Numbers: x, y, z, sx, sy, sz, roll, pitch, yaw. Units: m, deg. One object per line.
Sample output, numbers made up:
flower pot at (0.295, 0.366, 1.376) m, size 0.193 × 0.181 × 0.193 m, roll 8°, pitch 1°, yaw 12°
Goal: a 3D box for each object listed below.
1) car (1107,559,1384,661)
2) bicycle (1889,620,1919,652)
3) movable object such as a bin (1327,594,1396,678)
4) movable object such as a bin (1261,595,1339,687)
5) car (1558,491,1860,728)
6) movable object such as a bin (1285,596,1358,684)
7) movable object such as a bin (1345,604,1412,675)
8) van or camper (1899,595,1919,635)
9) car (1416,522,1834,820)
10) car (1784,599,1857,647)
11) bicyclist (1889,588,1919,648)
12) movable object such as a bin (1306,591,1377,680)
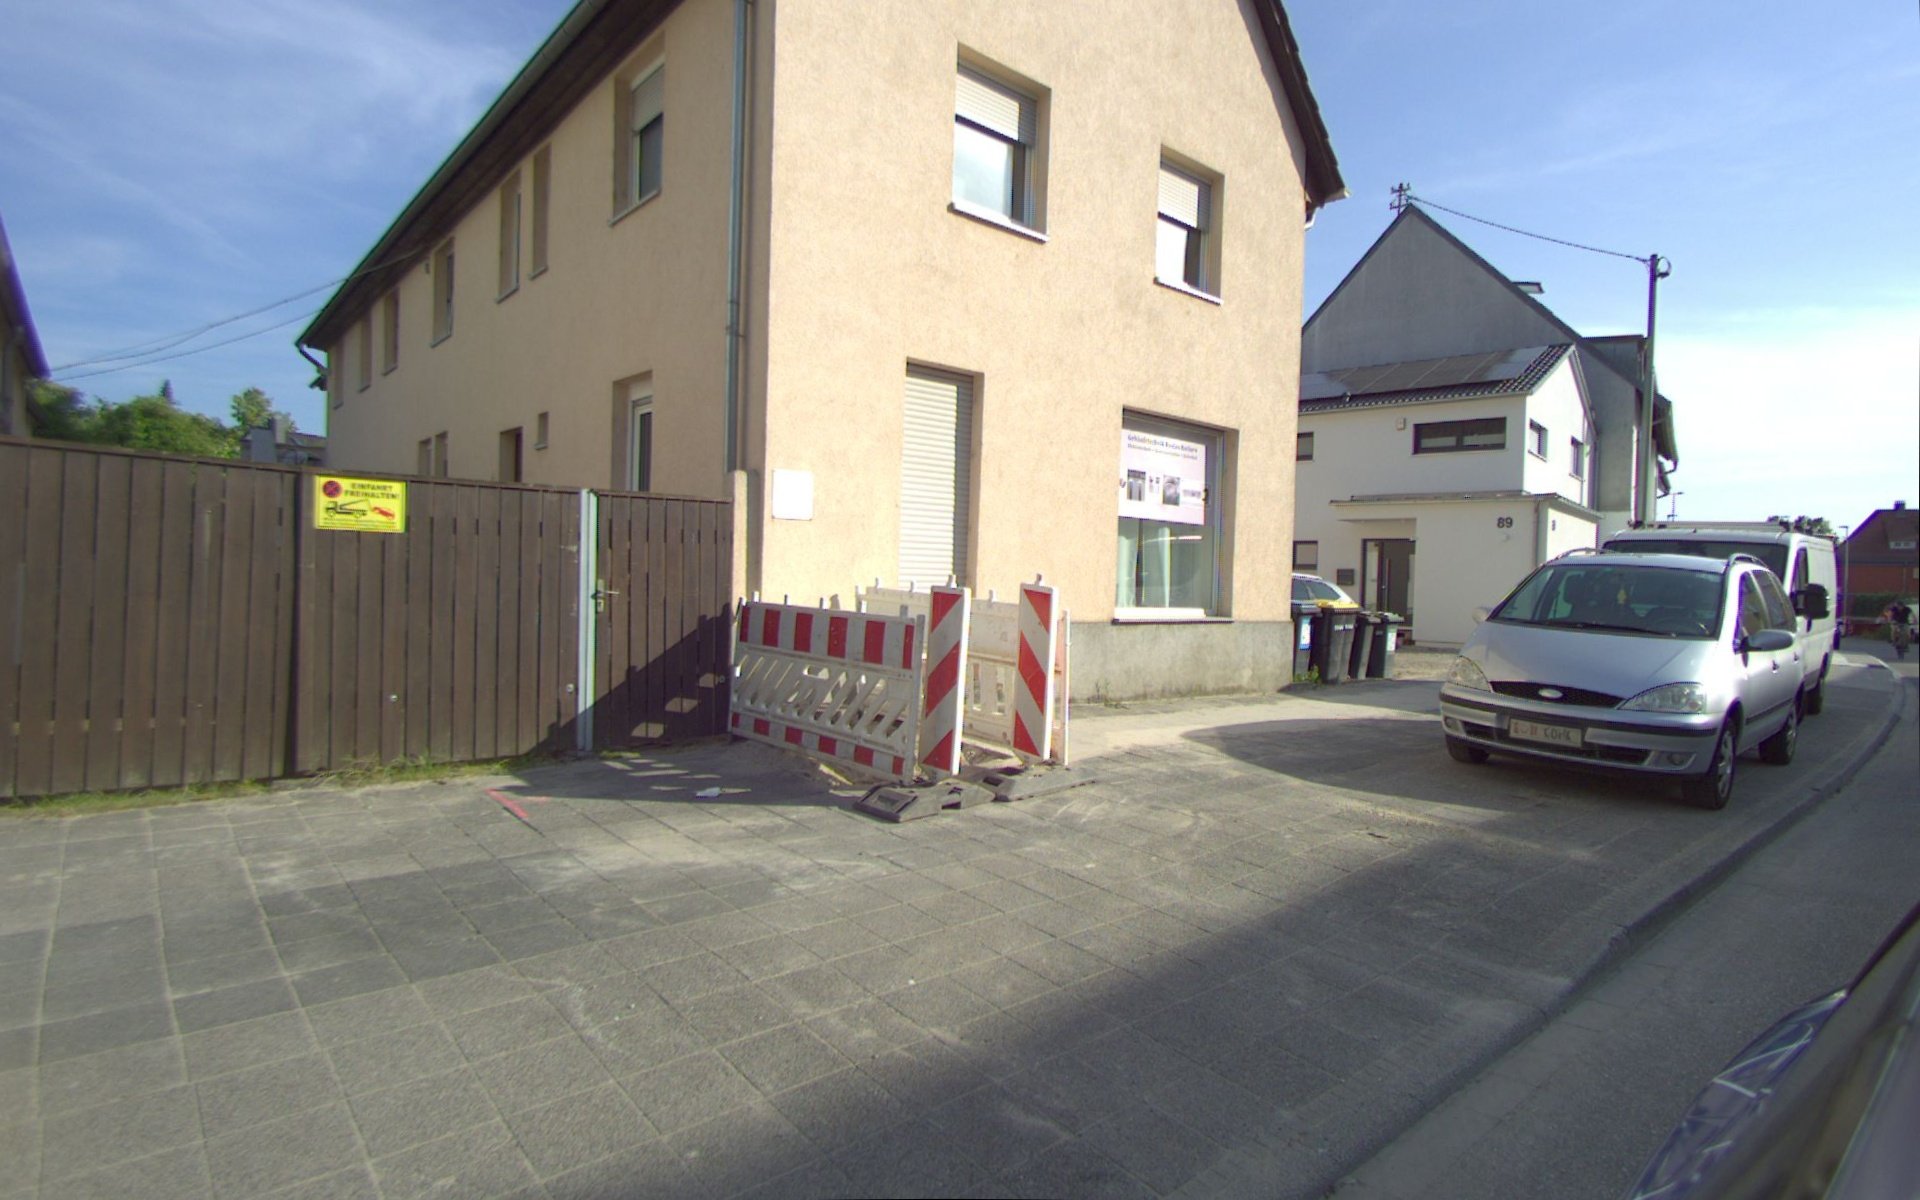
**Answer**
car at (4.491, 0.148, 16.004) m, size 3.895 × 1.424 × 1.666 m, roll 2°, pitch 2°, yaw -19°
bicycle at (27.492, 1.031, 29.305) m, size 0.677 × 0.865 × 1.999 m, roll 1°, pitch 1°, yaw 38°
movable object such as a bin at (5.598, 0.486, 14.117) m, size 0.544 × 1.107 × 0.728 m, roll 0°, pitch 1°, yaw -43°
movable object such as a bin at (4.298, 0.503, 12.801) m, size 0.615 × 1.107 × 0.728 m, roll 0°, pitch 1°, yaw -43°
car at (9.430, 0.061, 12.557) m, size 4.915 × 2.356 × 2.177 m, roll 1°, pitch 2°, yaw -44°
movable object such as a bin at (4.724, 0.503, 13.227) m, size 0.544 × 1.107 × 0.728 m, roll 0°, pitch 1°, yaw -43°
movable object such as a bin at (5.997, 0.553, 14.517) m, size 0.544 × 0.971 × 0.728 m, roll 0°, pitch 1°, yaw -43°
van or camper at (49.544, 0.791, 51.110) m, size 1.983 × 2.028 × 4.869 m, roll 2°, pitch 1°, yaw 30°
car at (5.533, 0.380, 8.154) m, size 4.408 × 1.762 × 1.780 m, roll 0°, pitch 3°, yaw -43°
car at (28.948, 0.722, 34.143) m, size 1.604 × 1.438 × 3.867 m, roll 3°, pitch 2°, yaw 37°
bicyclist at (27.544, 0.505, 29.316) m, size 0.841 × 1.711 × 0.865 m, roll 1°, pitch 0°, yaw 39°
movable object such as a bin at (5.163, 0.465, 13.696) m, size 0.544 × 1.146 × 0.728 m, roll 0°, pitch 1°, yaw -43°
